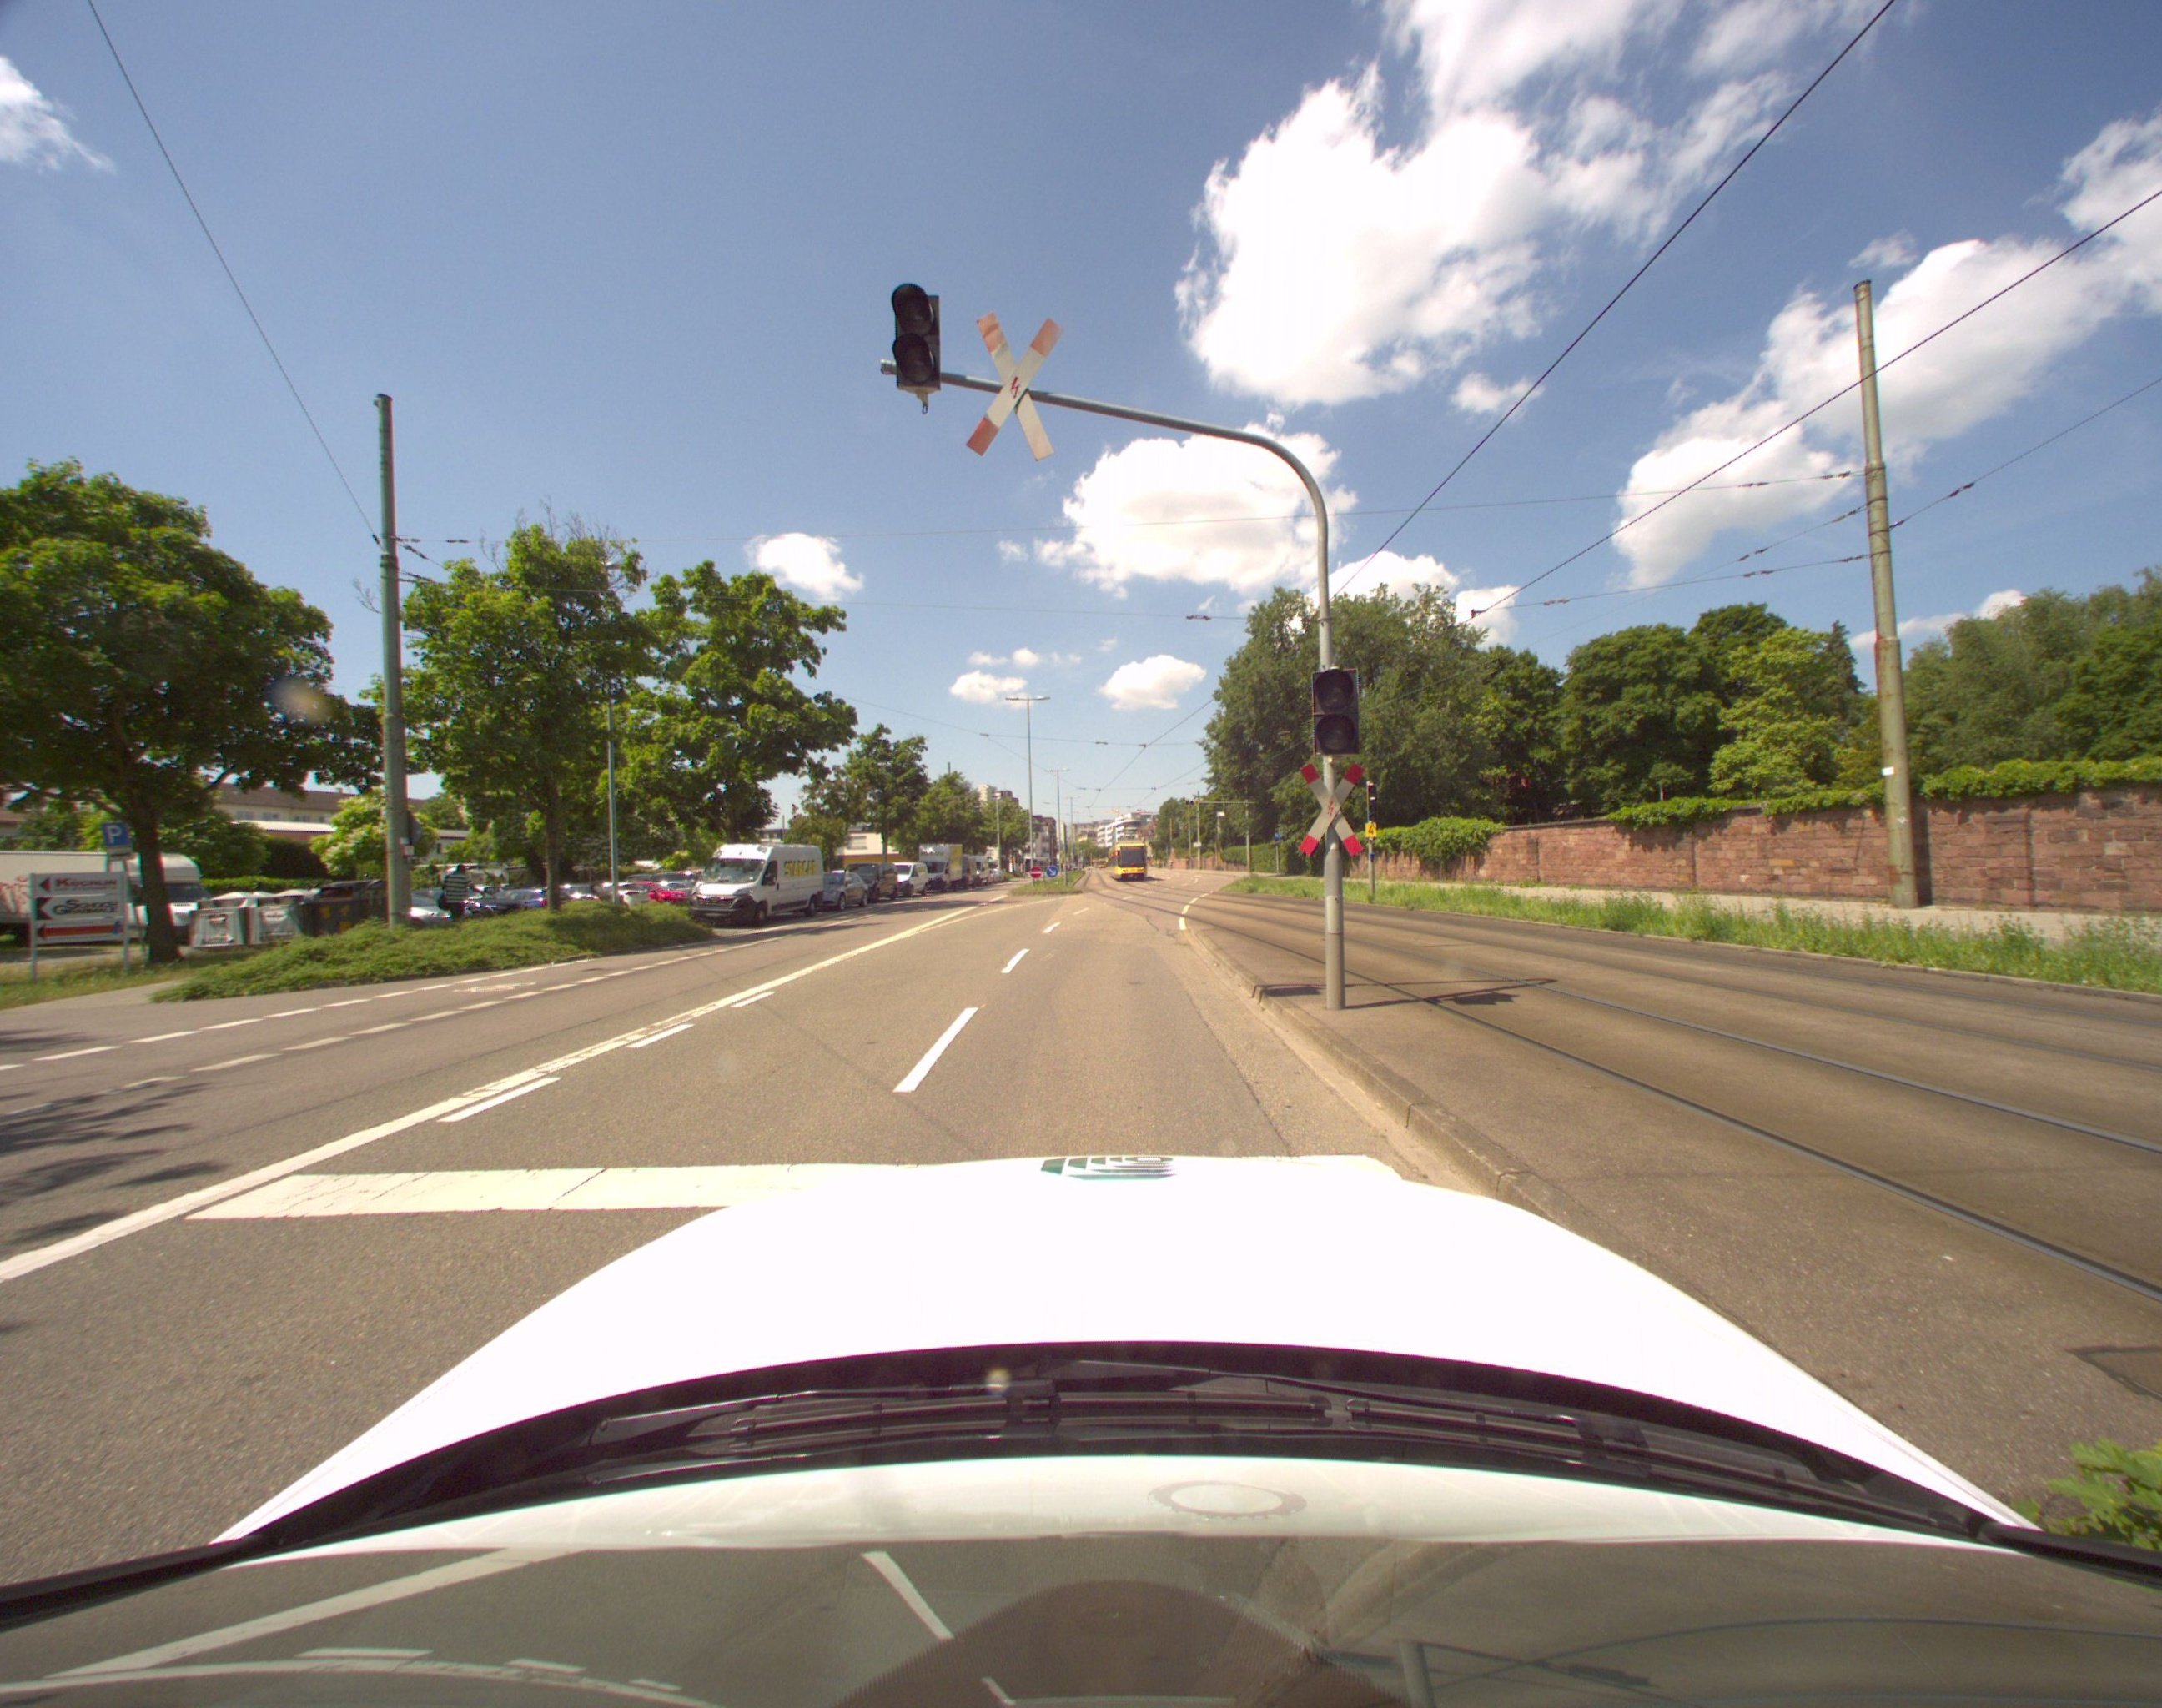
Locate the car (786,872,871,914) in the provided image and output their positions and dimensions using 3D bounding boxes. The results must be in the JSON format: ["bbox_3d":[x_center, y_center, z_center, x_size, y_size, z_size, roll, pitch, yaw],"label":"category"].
[{"bbox_3d":[-9.954,1.508,32.481,1.862,1.437,4.344,-2,-1,1],"label":"car"}]

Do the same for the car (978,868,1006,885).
[{"bbox_3d":[-9.023,2.235,82.869,2.053,1.582,4.872,-2,-1,1],"label":"car"}]

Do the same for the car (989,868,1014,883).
[{"bbox_3d":[-8.810,2.364,90.556,2.053,1.582,4.872,-2,-1,1],"label":"car"}]

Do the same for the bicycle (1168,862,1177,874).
[{"bbox_3d":[14.601,2.275,130.472,1.088,1.908,3.682,-2,-1,1],"label":"bicycle"}]

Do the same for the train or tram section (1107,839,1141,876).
[{"bbox_3d":[4.662,0.429,92.263,2.933,3.692,20.284,-1,0,1],"label":"train or tram section"}]

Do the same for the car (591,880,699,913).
[{"bbox_3d":[-20.323,1.962,38.080,3.974,1.339,1.805,-2,-1,-1],"label":"car"}]

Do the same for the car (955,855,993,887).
[{"bbox_3d":[-9.041,1.405,69.568,2.148,2.639,5.616,1,0,3],"label":"car"}]

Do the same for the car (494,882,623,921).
[{"bbox_3d":[-21.006,1.883,32.851,3.974,1.339,1.805,-2,-1,-1],"label":"car"}]

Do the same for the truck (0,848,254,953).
[{"bbox_3d":[-33.459,1.571,28.132,7.167,3.228,2.331,-2,-1,-2],"label":"truck"}]

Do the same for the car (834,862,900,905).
[{"bbox_3d":[-10.138,1.343,38.856,1.862,1.895,4.272,-2,-1,1],"label":"car"}]

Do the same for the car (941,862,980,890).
[{"bbox_3d":[-9.077,1.639,61.852,2.053,1.977,4.872,-2,-1,1],"label":"car"}]

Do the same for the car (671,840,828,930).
[{"bbox_3d":[-10.365,0.900,26.181,2.148,2.487,6.198,1,0,3],"label":"car"}]

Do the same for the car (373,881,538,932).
[{"bbox_3d":[-20.639,1.698,26.985,3.974,1.442,1.805,-2,-1,-1],"label":"car"}]

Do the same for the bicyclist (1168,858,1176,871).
[{"bbox_3d":[14.588,1.652,130.533,1.092,2.108,1.031,-1,-1,1],"label":"bicyclist"}]

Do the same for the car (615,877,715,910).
[{"bbox_3d":[-20.699,1.958,40.631,3.974,1.442,1.805,-2,-1,0],"label":"car"}]

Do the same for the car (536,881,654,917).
[{"bbox_3d":[-21.117,1.922,35.489,3.974,1.339,1.805,-2,-1,-1],"label":"car"}]

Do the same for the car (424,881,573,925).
[{"bbox_3d":[-20.938,1.731,29.391,3.974,1.339,1.805,-2,-1,-1],"label":"car"}]

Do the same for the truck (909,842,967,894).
[{"bbox_3d":[-9.440,0.890,54.315,2.148,3.210,7.088,1,0,3],"label":"truck"}]

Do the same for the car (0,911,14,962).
[{"bbox_3d":[-32.441,2.399,22.313,3.975,1.399,1.772,-2,-1,-1],"label":"car"}]

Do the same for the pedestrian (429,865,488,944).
[{"bbox_3d":[-15.104,1.194,19.783,0.980,1.823,0.787,-2,-1,-28],"label":"pedestrian"}]

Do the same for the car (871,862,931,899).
[{"bbox_3d":[-9.982,1.438,45.583,2.053,1.898,4.872,-2,-1,1],"label":"car"}]

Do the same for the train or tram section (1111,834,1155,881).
[{"bbox_3d":[4.408,0.341,72.968,2.933,3.692,18.388,-1,0,1],"label":"train or tram section"}]
